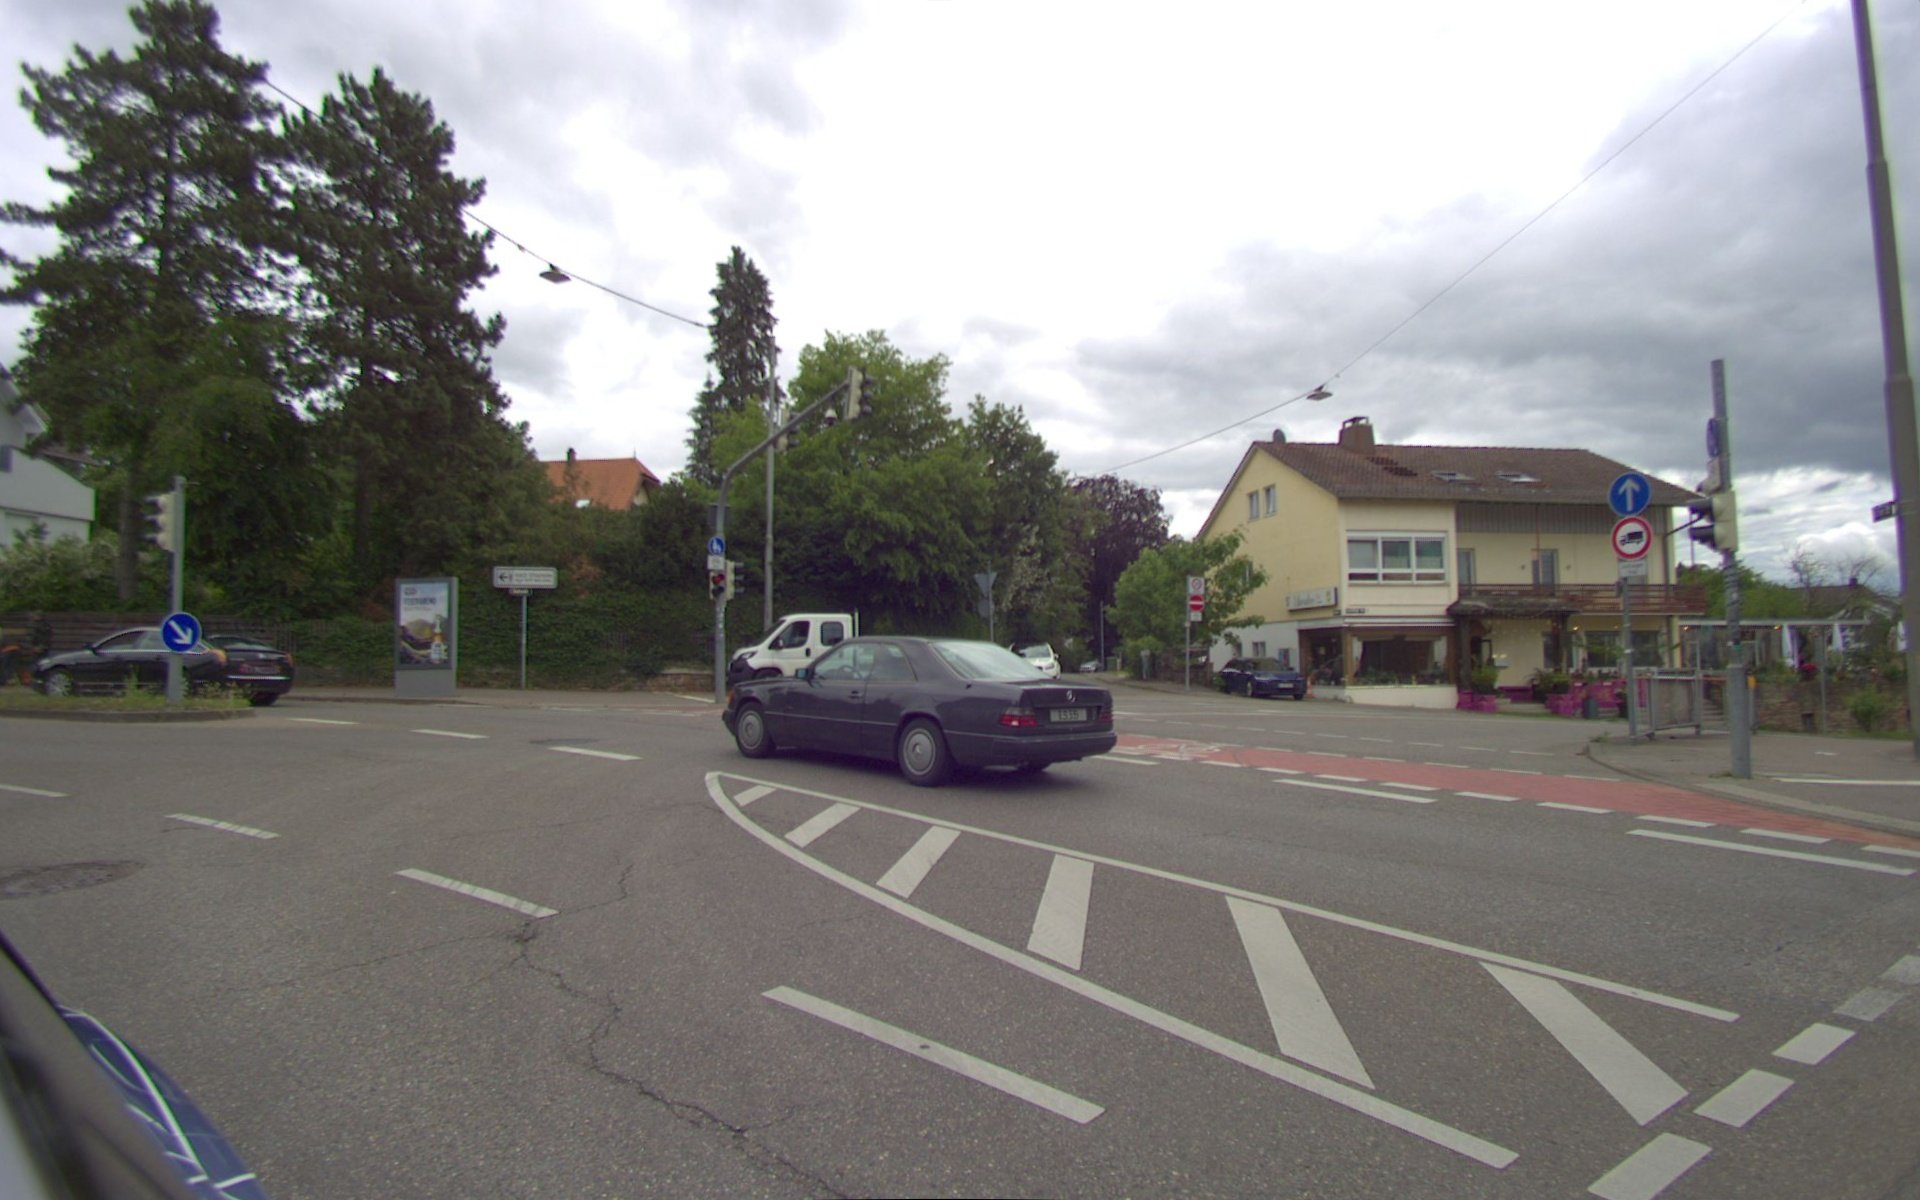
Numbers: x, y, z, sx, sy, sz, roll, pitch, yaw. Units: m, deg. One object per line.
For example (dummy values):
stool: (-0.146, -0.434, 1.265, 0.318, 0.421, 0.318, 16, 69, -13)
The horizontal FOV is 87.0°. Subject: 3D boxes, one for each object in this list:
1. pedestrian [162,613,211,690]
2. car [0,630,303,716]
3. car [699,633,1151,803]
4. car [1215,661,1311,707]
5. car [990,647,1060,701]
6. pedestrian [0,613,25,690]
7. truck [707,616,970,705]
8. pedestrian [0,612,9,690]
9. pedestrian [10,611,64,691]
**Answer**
pedestrian: (-18.925, 1.268, 24.774, 0.603, 1.849, 0.679, 1, -4, -4)
car: (-15.088, 1.307, 18.862, 5.013, 1.433, 1.989, 0, -3, 17)
car: (-0.597, 1.036, 10.415, 1.825, 1.338, 4.871, 4, -4, -45)
car: (10.554, 2.907, 35.564, 1.852, 1.460, 4.004, 1, -3, -5)
car: (2.211, 2.397, 33.260, 1.977, 1.625, 3.989, 0, -3, 8)
pedestrian: (-23.049, 1.239, 24.353, 0.498, 1.827, 0.510, 1, -4, -1)
truck: (-3.294, 1.653, 27.275, 6.602, 2.205, 2.537, 2, -3, -19)
pedestrian: (-22.610, 1.175, 23.335, 0.657, 1.802, 0.613, 1, -4, -1)
pedestrian: (-21.838, 1.206, 23.946, 0.603, 1.849, 0.604, 1, -4, -3)
